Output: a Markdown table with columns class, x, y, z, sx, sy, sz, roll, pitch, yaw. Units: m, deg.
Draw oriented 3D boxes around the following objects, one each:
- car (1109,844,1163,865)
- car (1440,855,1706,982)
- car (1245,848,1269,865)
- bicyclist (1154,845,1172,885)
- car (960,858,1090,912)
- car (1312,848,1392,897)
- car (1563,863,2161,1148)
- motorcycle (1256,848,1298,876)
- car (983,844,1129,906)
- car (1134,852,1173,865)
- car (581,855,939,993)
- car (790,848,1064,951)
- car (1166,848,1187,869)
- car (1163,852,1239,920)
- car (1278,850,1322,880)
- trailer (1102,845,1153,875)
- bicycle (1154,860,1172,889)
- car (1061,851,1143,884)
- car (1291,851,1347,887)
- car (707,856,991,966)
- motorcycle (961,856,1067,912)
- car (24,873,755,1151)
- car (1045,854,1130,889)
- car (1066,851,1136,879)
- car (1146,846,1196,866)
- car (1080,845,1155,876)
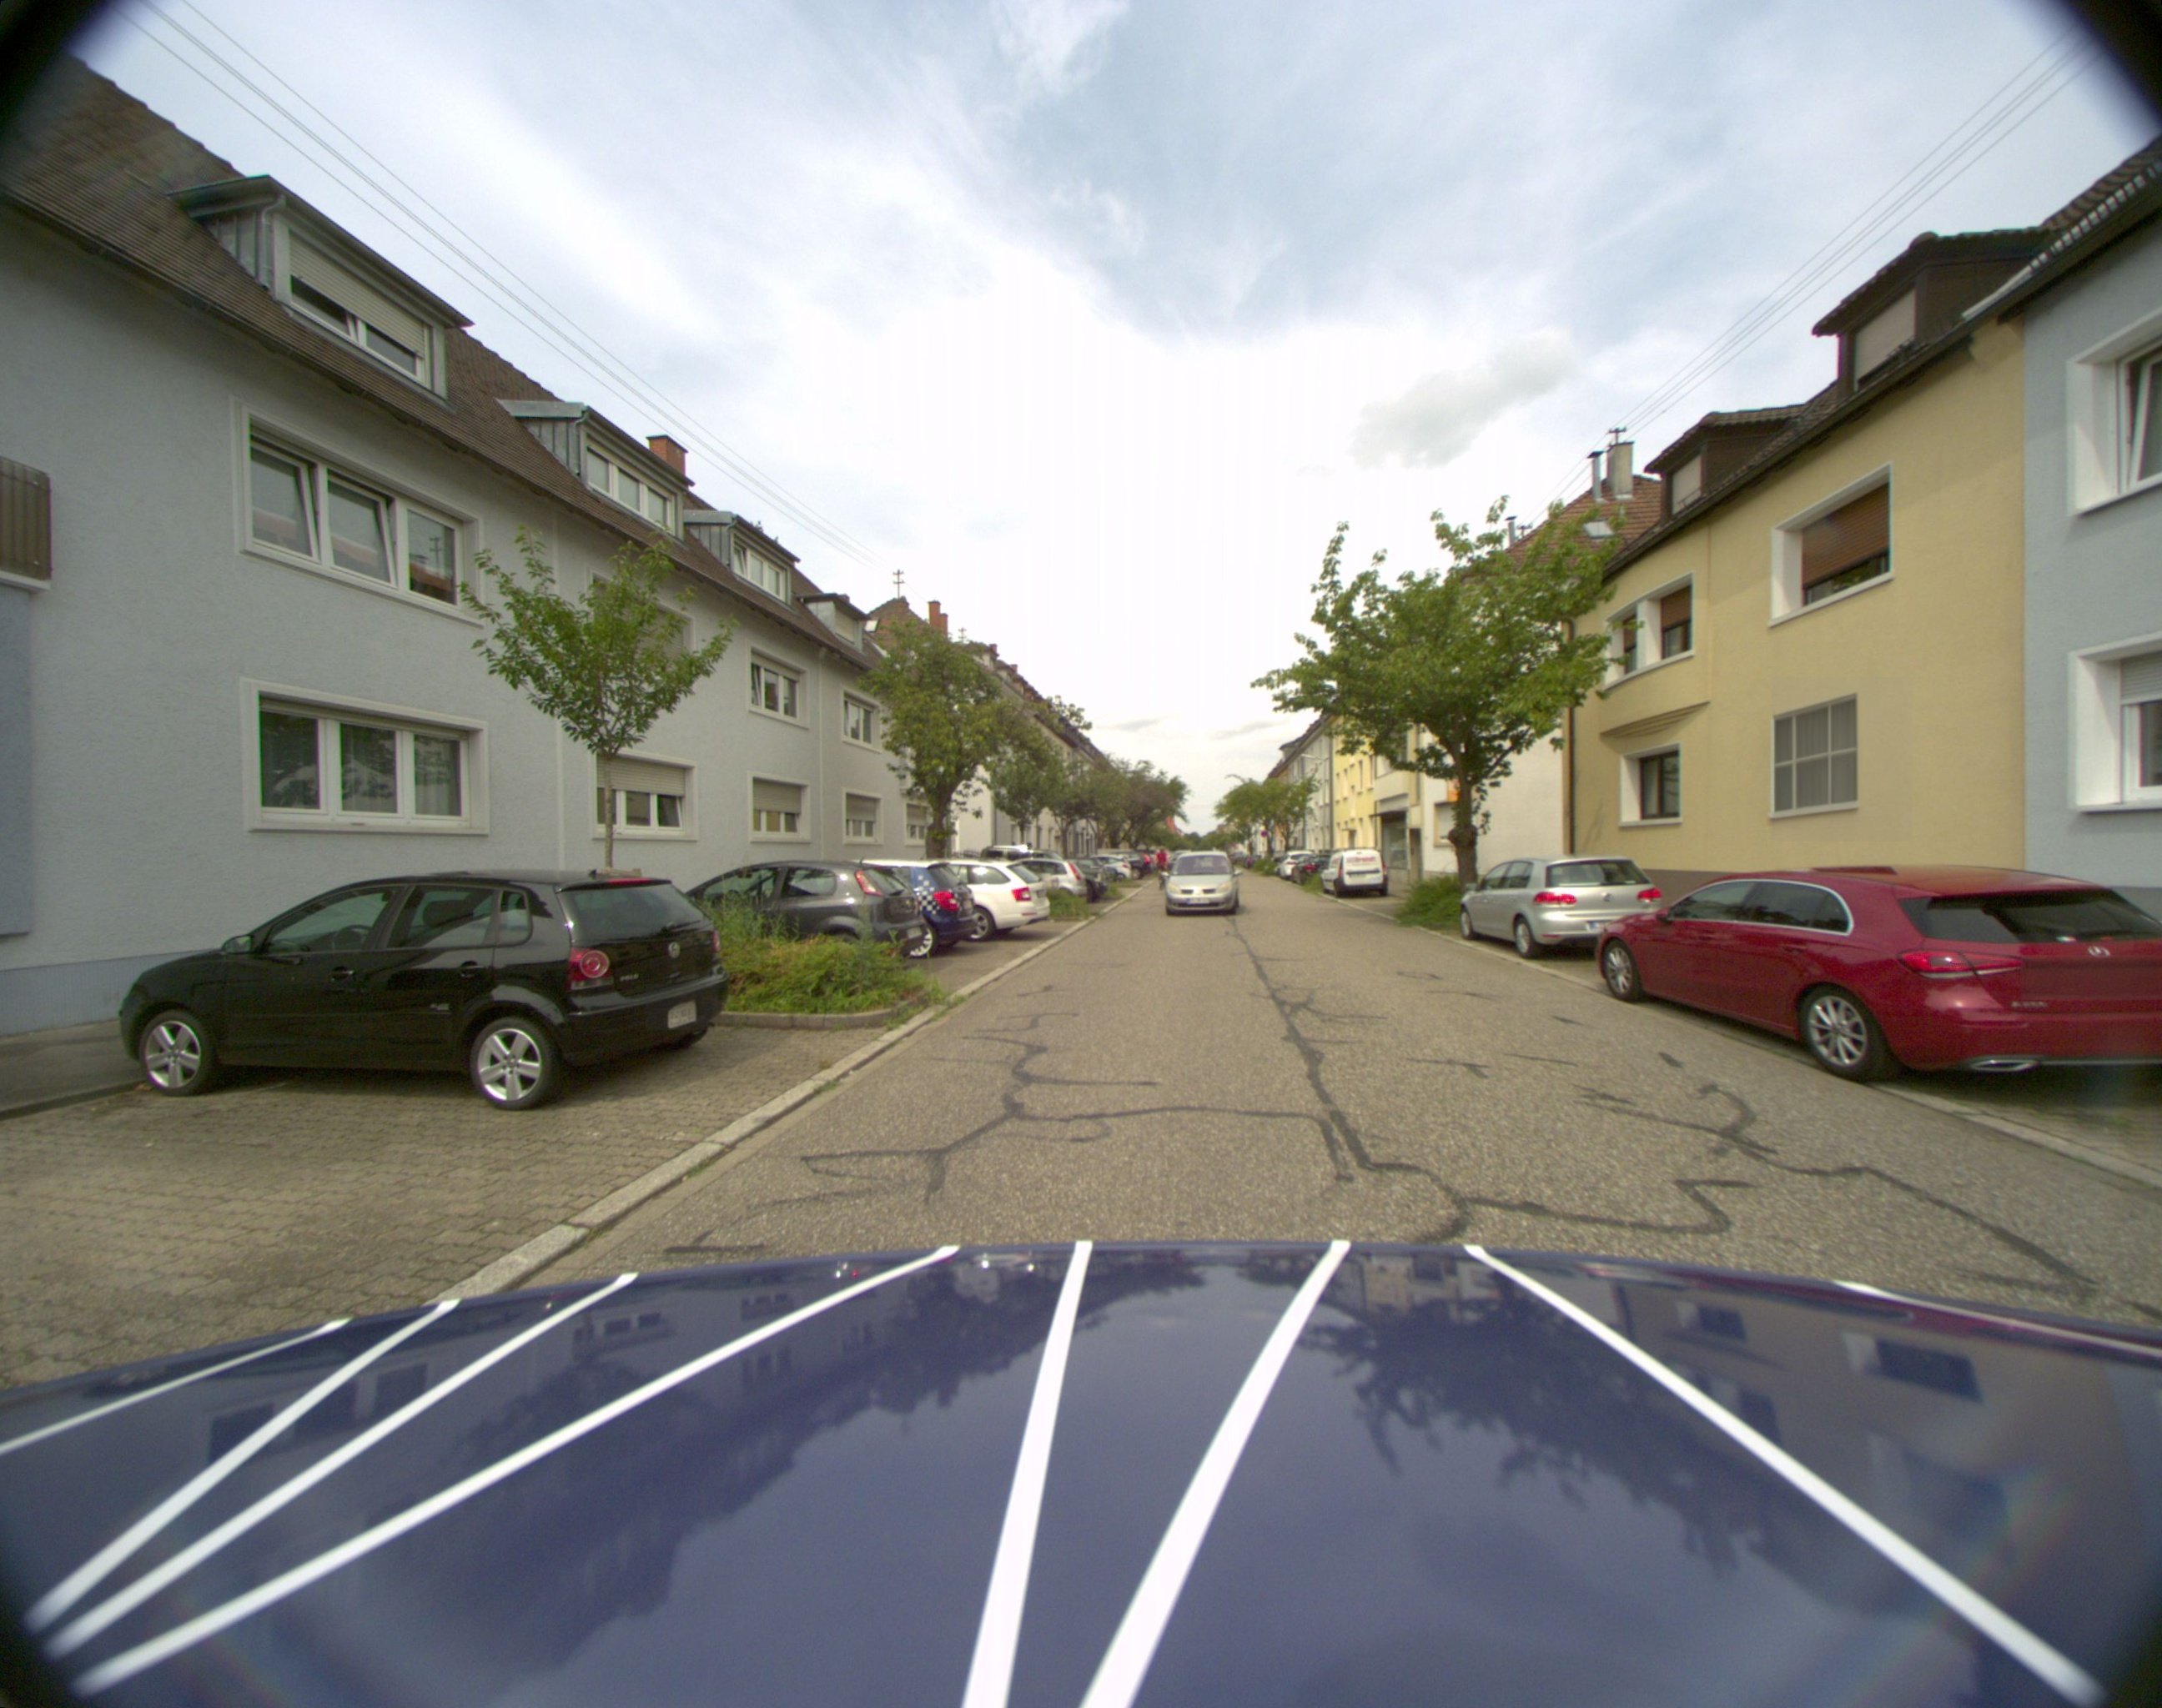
| class | x | y | z | sx | sy | sz | roll | pitch | yaw |
| --- | --- | --- | --- | --- | --- | --- | --- | --- | --- |
| car | 4.609 | 0.013 | 63.347 | 4.221 | 1.668 | 1.905 | 1 | 1 | 11 |
| car | 7.186 | 0.832 | 11.701 | 1.775 | 1.384 | 4.278 | -6 | 0 | 10 |
| car | 17.496 | 0.226 | 75.531 | 1.840 | 1.475 | 4.123 | -3 | 0 | 7 |
| bicyclist | 3.653 | 0.472 | 33.712 | 0.693 | 1.760 | 0.987 | -1 | 1 | 9 |
| car | -1.627 | 0.886 | 22.843 | 3.632 | 1.446 | 1.773 | 1 | 1 | 5 |
| car | 9.659 | 0.608 | 27.428 | 1.922 | 1.572 | 4.385 | 1 | 1 | 9 |
| car | 6.231 | 0.881 | 6.494 | 1.880 | 1.477 | 4.515 | 1 | 1 | 9 |
| motorcycle | 11.970 | 0.507 | 46.409 | 0.940 | 1.666 | 2.468 | 0 | 0 | -34 |
| car | -0.794 | 0.652 | 25.273 | 4.532 | 1.847 | 1.794 | 1 | 1 | 11 |
| car | 8.686 | 0.533 | 91.176 | 4.555 | 1.501 | 1.851 | 1 | 1 | 7 |
| car | -4.080 | 0.818 | 9.956 | 3.994 | 1.499 | 1.713 | 1 | 1 | 9 |
| car | -2.793 | 0.761 | 14.237 | 4.622 | 1.654 | 1.894 | 1 | 1 | 10 |
| car | 9.393 | 0.430 | 74.818 | 1.997 | 1.903 | 4.706 | -2 | 0 | 7 |
| car | 3.233 | 0.765 | 20.665 | 1.787 | 1.595 | 4.839 | -1 | 0 | 8 |
| car | 11.907 | 0.558 | 41.561 | 1.760 | 1.547 | 4.258 | 0 | 1 | 9 |
| trailer | 2.931 | 0.348 | 47.899 | 2.965 | 1.821 | 1.402 | 1 | 1 | 12 |
| bicycle | 3.671 | 0.901 | 33.790 | 0.693 | 1.220 | 1.938 | -1 | 1 | 9 |
| car | 1.085 | 0.643 | 38.504 | 3.995 | 1.521 | 1.769 | 1 | 1 | 6 |
| car | 11.004 | 0.640 | 35.359 | 1.794 | 1.483 | 4.815 | -1 | 1 | 9 |
| car | -3.636 | 0.838 | 12.218 | 3.994 | 1.499 | 1.713 | 1 | 1 | 9 |
| motorcycle | -1.796 | 0.801 | 20.706 | 2.706 | 1.455 | 1.032 | -1 | 1 | 5 |
| car | -4.678 | 0.921 | 5.424 | 3.994 | 1.413 | 1.713 | 1 | 1 | 9 |
| car | 0.311 | 0.748 | 33.766 | 3.549 | 1.444 | 1.810 | 1 | 1 | 8 |
| car | 1.183 | 0.609 | 43.401 | 3.754 | 1.433 | 1.866 | 1 | 1 | 10 |
| car | 9.610 | 0.198 | 81.779 | 5.240 | 2.011 | 2.074 | 1 | 1 | 5 |
| car | 2.205 | 0.382 | 45.363 | 4.221 | 1.726 | 1.905 | 1 | 1 | 11 |
